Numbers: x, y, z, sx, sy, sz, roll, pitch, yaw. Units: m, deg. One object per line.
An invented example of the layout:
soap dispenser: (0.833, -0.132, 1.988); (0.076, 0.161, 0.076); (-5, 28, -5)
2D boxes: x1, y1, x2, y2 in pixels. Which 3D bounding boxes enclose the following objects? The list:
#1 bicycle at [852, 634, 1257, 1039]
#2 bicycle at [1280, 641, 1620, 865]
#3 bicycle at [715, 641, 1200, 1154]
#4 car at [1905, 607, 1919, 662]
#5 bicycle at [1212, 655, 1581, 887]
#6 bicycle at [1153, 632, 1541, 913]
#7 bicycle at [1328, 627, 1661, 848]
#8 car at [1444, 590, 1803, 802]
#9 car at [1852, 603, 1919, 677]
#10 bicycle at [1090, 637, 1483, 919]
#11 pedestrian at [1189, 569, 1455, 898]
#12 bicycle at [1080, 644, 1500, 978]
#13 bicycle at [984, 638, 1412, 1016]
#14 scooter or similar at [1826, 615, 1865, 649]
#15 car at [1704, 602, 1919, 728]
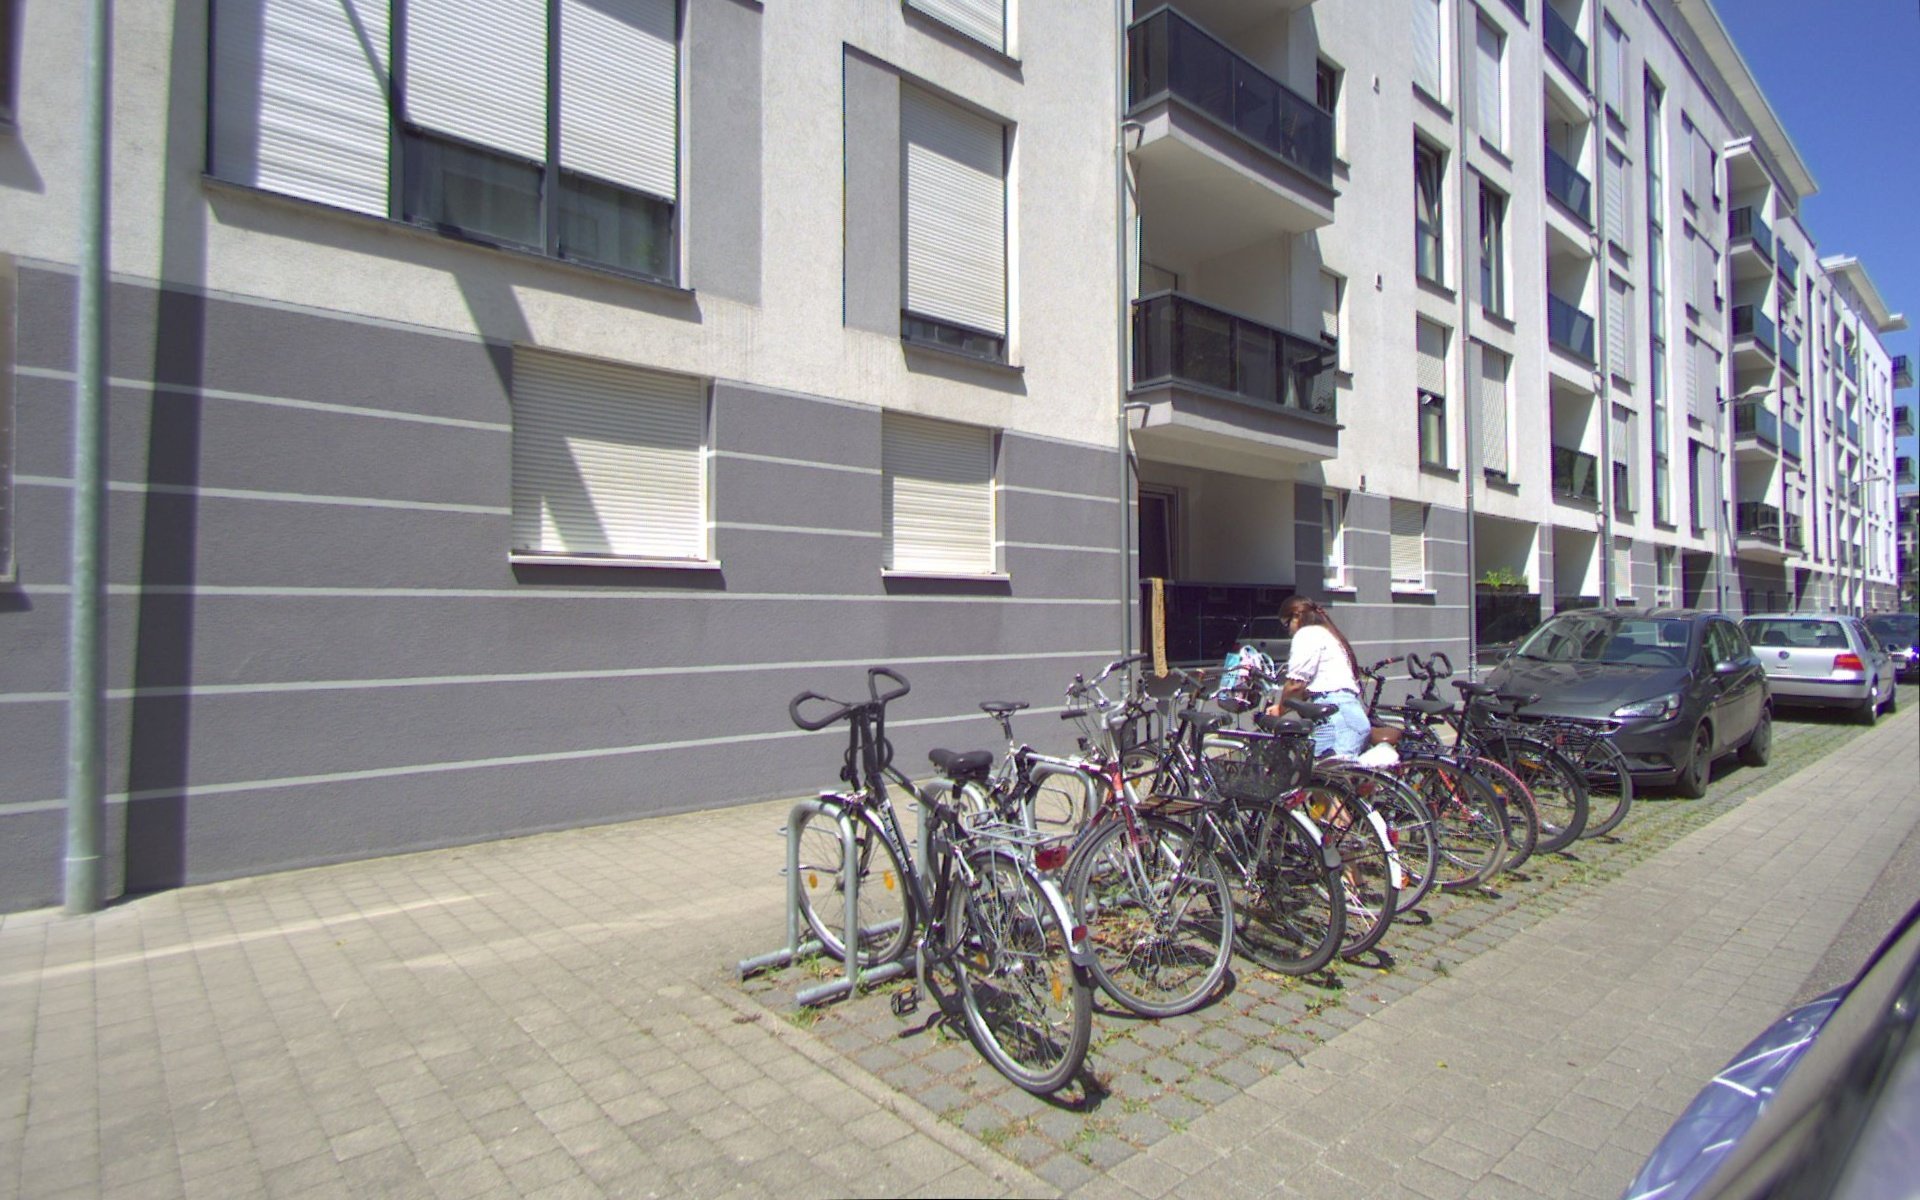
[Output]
bicycle: (0.315, 0.783, 4.052); (0.696, 1.233, 1.552); (1, 0, -43)
bicycle: (3.004, 0.857, 6.337); (0.734, 1.118, 1.787); (1, 0, -44)
bicycle: (-0.133, 0.788, 3.502); (0.675, 1.208, 1.864); (1, 0, -38)
car: (27.882, 0.974, 28.443); (3.612, 1.504, 1.598); (1, 0, -42)
bicycle: (2.464, 0.899, 5.918); (0.550, 1.048, 1.924); (1, 0, -44)
bicycle: (2.003, 0.818, 5.458); (1.921, 1.233, 0.454); (0, -1, 40)
bicycle: (3.543, 0.829, 6.836); (0.704, 1.233, 1.871); (1, 0, -44)
car: (6.192, 0.703, 9.252); (4.155, 1.504, 1.741); (1, -1, -42)
car: (20.776, 0.834, 21.988); (4.047, 1.481, 1.645); (1, 0, -42)
bicycle: (1.585, 0.797, 5.065); (1.824, 1.163, 0.455); (0, -1, 30)
pedestrian: (1.910, 0.623, 5.380); (1.177, 1.534, 0.678); (0, -1, 39)
bicycle: (1.405, 0.821, 4.723); (0.597, 1.147, 1.931); (1, 0, -32)
bicycle: (0.898, 0.802, 4.401); (0.625, 1.194, 1.931); (1, 0, -32)
scooter or similar: (33.148, 1.186, 37.892); (1.498, 1.241, 0.548); (0, -2, -27)
car: (12.385, 0.827, 14.584); (4.275, 1.524, 1.837); (1, 0, -42)
